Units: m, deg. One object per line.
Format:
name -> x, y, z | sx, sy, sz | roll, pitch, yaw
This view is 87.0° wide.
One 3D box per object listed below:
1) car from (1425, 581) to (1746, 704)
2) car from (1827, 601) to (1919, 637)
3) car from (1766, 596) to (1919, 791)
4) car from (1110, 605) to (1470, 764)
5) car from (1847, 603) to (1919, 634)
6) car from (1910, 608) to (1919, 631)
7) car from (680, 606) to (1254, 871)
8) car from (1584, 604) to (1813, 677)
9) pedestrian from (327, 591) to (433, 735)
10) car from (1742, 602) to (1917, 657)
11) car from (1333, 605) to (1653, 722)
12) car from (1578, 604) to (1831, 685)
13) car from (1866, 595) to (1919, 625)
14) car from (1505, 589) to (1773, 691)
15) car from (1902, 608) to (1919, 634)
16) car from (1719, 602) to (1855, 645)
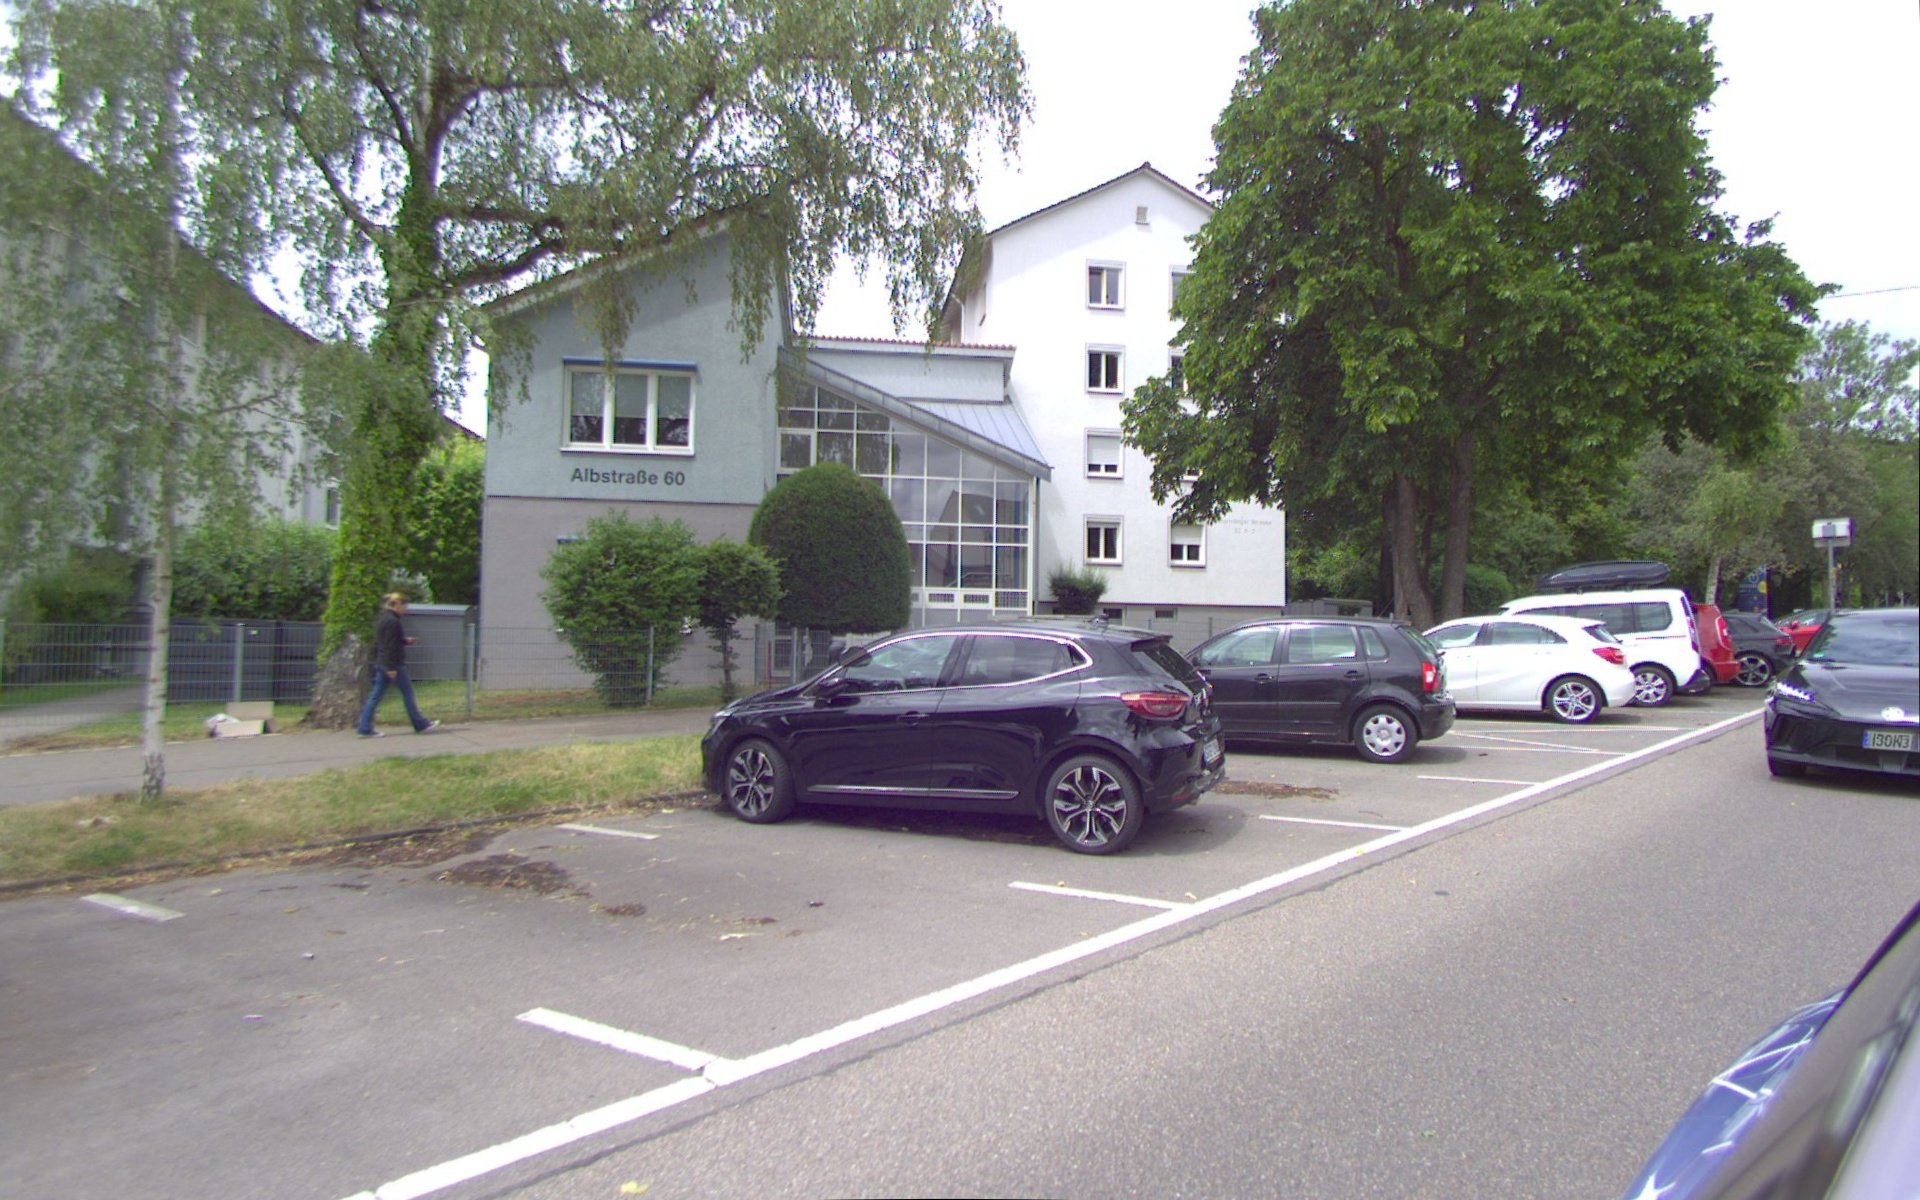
car -> 9.912, 0.682, 16.488 | 4.177, 1.781, 1.843 | -2, -1, 25
car -> 41.849, 0.861, 45.873 | 3.841, 1.582, 1.630 | -2, -2, 42
car -> 8.851, 0.722, 9.184 | 3.728, 1.511, 1.811 | 0, 0, -42
car -> 3.597, 0.843, 11.092 | 3.482, 1.483, 1.698 | -2, -1, 29
car -> 44.141, 0.867, 47.399 | 3.841, 1.404, 1.630 | -2, -2, 42
car -> 59.936, 1.153, 60.943 | 3.841, 1.404, 1.630 | -2, -2, 42
car -> 0.034, 0.848, 7.391 | 3.816, 1.452, 1.701 | -2, 1, 26
car -> 15.861, 0.868, 21.947 | 3.832, 1.453, 1.634 | -2, -1, 35
pedestrian -> -6.416, 0.667, 11.210 | 0.688, 1.523, 0.770 | -1, -1, 29
car -> 27.071, 0.923, 31.689 | 3.823, 1.633, 1.638 | -2, -1, 30
car -> 7.543, 0.845, 14.454 | 3.832, 1.457, 1.694 | -2, -1, 35
car -> 14.511, 0.858, 19.970 | 3.832, 1.453, 1.634 | -2, -1, 35
car -> 46.045, 0.444, 48.472 | 3.841, 1.404, 1.630 | -2, -2, 42
car -> 12.206, 0.715, 18.407 | 3.832, 1.664, 1.829 | -2, -1, 35
car -> 54.594, 1.143, 55.764 | 3.841, 1.404, 1.630 | -2, -2, 42
car -> 32.263, 0.913, 39.615 | 3.823, 1.578, 1.638 | -2, -1, 30
